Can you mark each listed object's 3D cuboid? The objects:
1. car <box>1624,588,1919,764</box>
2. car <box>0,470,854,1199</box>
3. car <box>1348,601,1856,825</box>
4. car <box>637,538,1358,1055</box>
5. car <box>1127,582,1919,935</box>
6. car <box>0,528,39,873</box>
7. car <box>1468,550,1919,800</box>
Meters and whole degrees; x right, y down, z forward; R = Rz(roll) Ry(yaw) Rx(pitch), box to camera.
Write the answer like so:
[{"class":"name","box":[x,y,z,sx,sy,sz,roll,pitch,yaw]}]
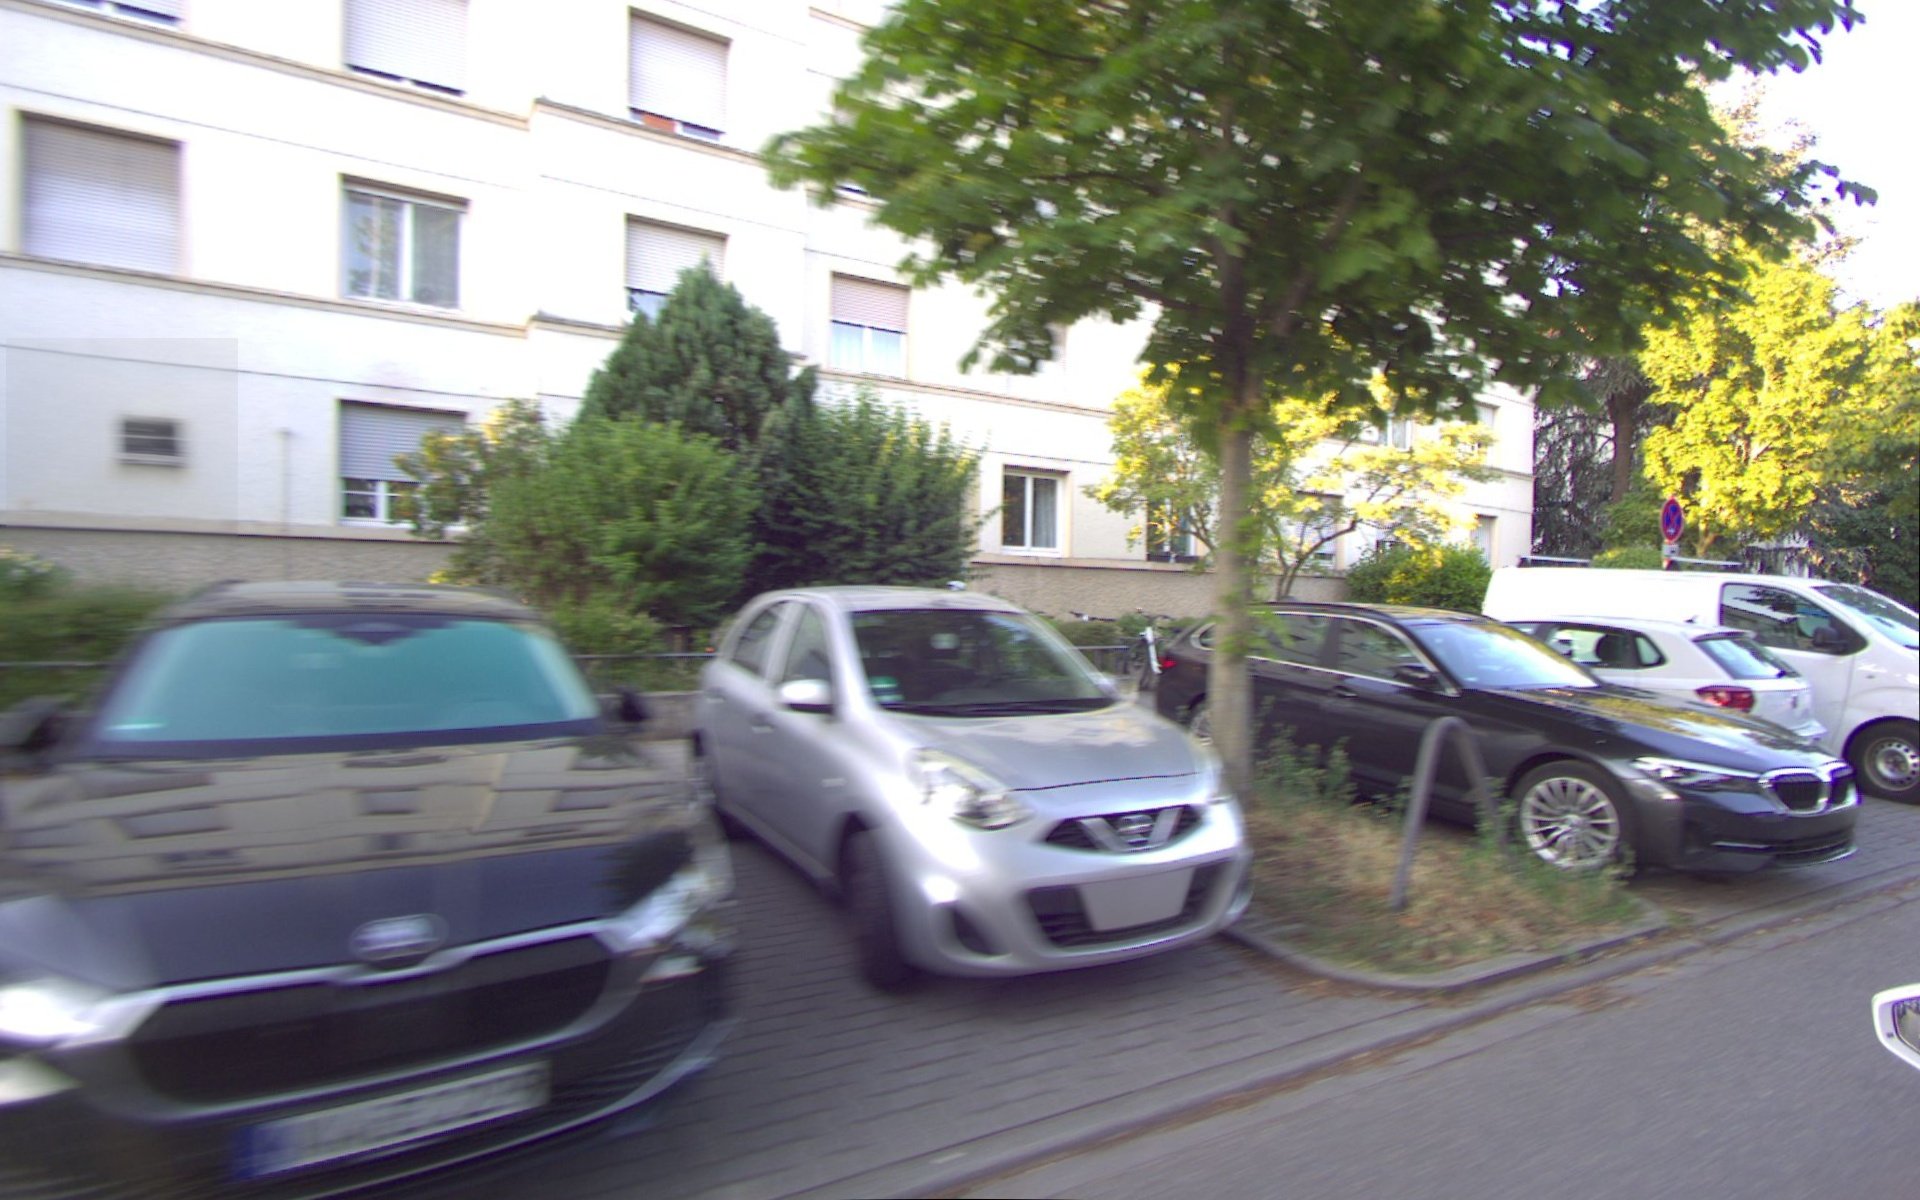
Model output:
[{"class":"car","box":[10.157,0.779,11.421,1.780,1.776,3.964,1,1,-32]},{"class":"car","box":[-2.277,0.564,3.911,1.880,1.636,4.378,1,1,-34]},{"class":"car","box":[5.450,0.803,8.959,1.737,1.504,3.400,1,1,-29]},{"class":"car","box":[-0.216,0.581,5.254,1.783,1.599,3.962,1,1,-34]},{"class":"car","box":[3.489,0.739,7.262,1.859,1.490,4.748,2,2,-30]},{"class":"car","box":[-4.547,0.483,3.252,1.713,1.604,3.962,1,1,-34]},{"class":"car","box":[7.920,0.591,10.027,1.977,2.041,4.747,1,1,-31]}]
